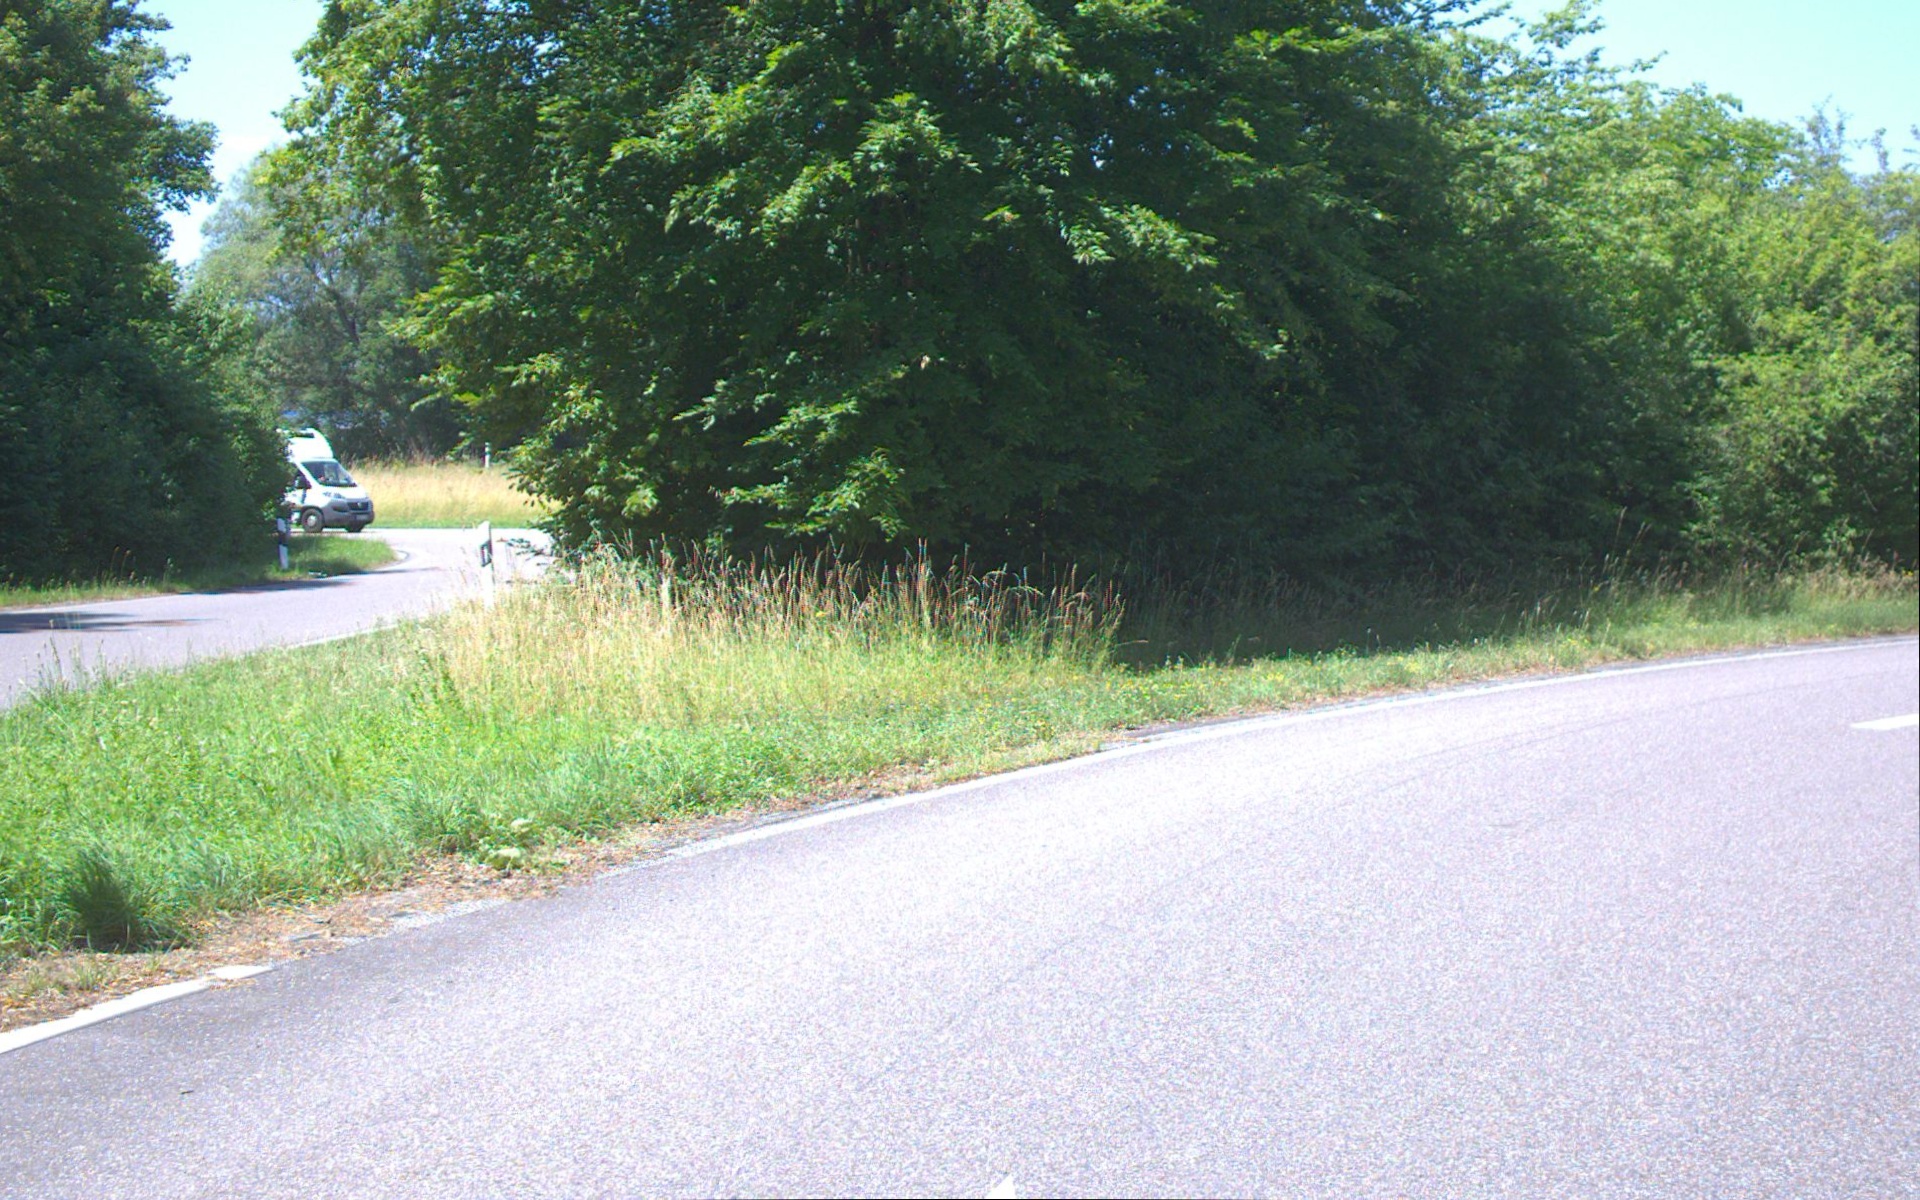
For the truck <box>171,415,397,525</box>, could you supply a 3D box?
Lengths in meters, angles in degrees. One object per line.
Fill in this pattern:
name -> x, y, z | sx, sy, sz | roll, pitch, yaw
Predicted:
truck -> -18.749, -3.624, 95.368 | 5.882, 2.974, 2.245 | 1, 3, 23
